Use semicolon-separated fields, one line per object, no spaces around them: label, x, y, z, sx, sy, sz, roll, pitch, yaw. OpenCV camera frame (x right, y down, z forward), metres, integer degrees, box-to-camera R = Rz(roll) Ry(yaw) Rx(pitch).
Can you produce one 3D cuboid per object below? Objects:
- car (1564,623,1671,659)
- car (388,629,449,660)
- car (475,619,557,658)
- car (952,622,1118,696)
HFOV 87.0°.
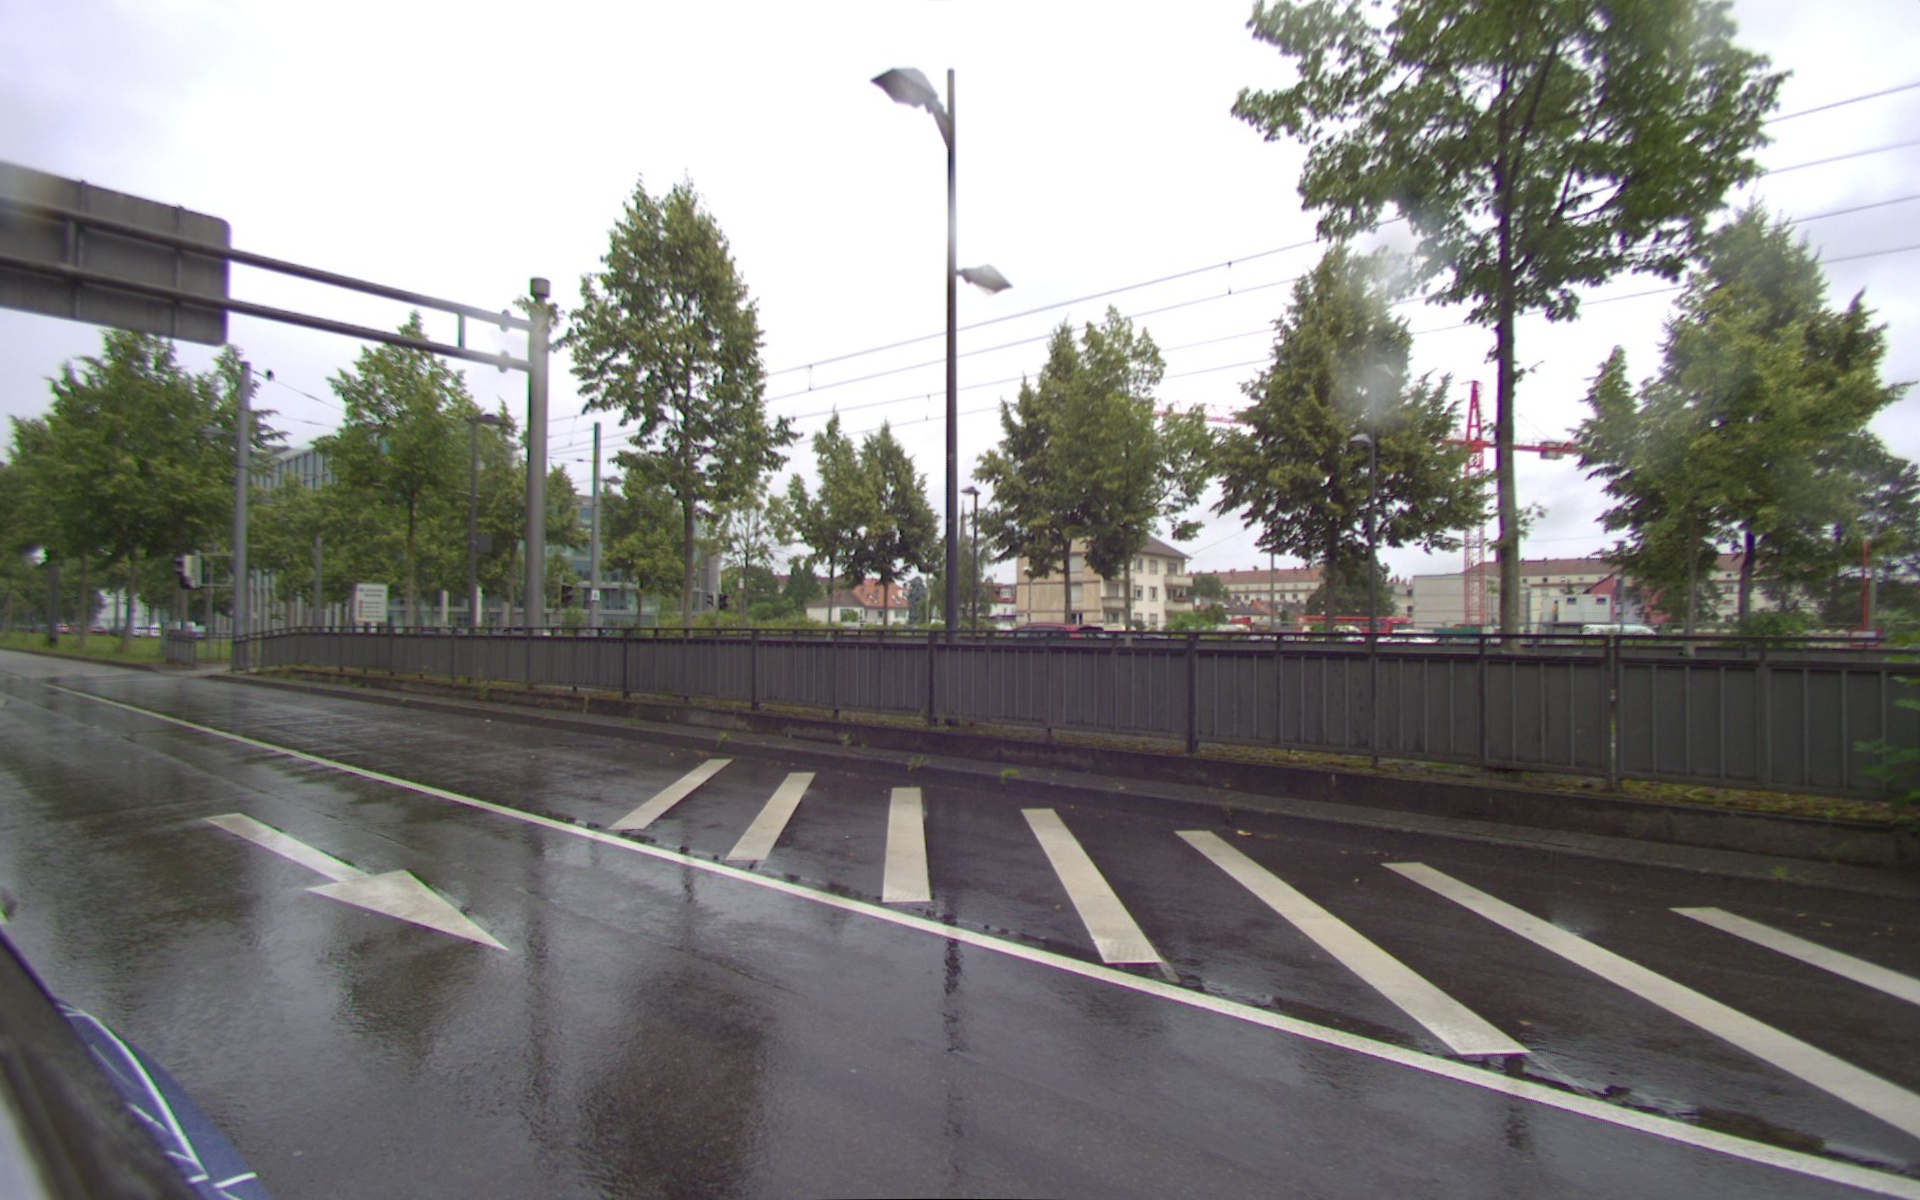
car;45.423;2.780;70.067;6.126;2.323;1.978;-1;0;33
car;-33.374;2.696;62.329;3.996;1.759;1.974;-1;0;39
car;-21.072;1.784;48.029;3.996;1.759;1.974;-1;0;39
car;1.951;1.486;26.881;3.996;1.759;1.974;-1;0;39
